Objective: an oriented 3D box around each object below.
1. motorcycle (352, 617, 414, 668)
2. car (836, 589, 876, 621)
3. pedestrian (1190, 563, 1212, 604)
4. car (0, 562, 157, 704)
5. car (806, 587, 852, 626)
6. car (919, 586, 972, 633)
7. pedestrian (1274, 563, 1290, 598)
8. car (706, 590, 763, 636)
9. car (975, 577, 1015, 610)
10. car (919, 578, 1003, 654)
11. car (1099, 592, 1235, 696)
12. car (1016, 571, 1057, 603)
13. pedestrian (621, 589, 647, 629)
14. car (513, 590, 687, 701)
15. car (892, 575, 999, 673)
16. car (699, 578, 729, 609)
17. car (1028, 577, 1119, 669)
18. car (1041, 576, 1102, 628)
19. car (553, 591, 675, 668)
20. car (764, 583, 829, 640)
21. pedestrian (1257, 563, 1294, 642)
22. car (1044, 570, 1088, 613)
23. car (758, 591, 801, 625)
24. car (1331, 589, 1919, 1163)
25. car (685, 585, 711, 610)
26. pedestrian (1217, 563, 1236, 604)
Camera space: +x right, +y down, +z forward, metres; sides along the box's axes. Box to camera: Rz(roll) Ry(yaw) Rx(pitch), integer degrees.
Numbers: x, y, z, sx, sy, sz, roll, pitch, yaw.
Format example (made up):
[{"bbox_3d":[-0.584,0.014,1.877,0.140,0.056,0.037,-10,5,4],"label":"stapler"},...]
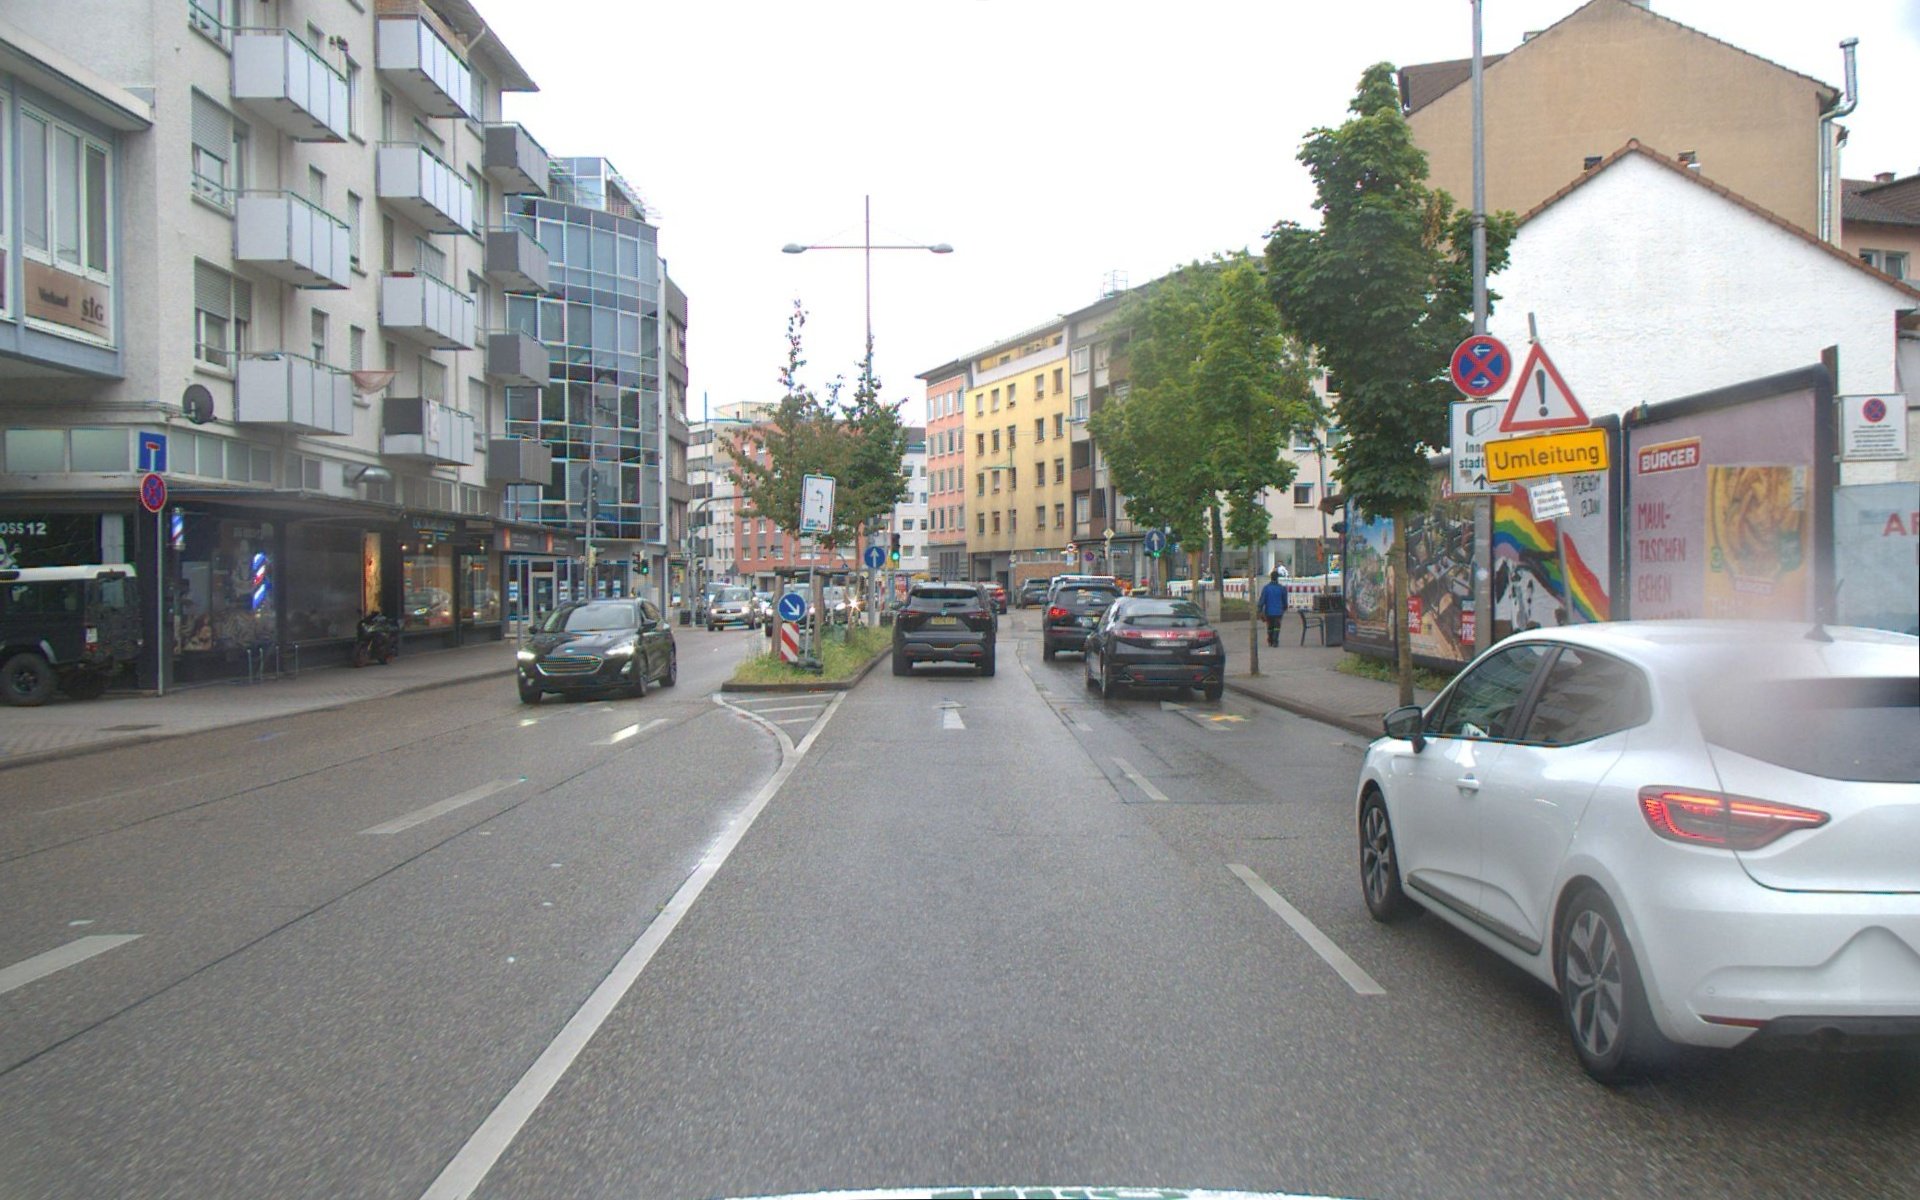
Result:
[{"bbox_3d":[-12.272,0.885,35.237,0.515,1.013,2.136,1,0,1],"label":"motorcycle"},{"bbox_3d":[-4.843,0.224,77.572,1.636,1.393,3.752,-2,0,-1],"label":"car"},{"bbox_3d":[12.256,-0.826,84.072,0.809,2.048,0.835,1,1,-19],"label":"pedestrian"},{"bbox_3d":[-14.595,0.507,25.230,3.880,2.070,1.581,-1,0,2],"label":"car"},{"bbox_3d":[-5.294,0.247,67.197,1.501,1.437,3.936,-3,0,-1],"label":"car"},{"bbox_3d":[-0.505,0.299,53.609,1.608,1.405,3.347,-2,0,-2],"label":"car"},{"bbox_3d":[16.749,-0.992,86.007,0.523,1.800,0.616,1,1,-31],"label":"pedestrian"},{"bbox_3d":[-8.499,0.471,62.675,1.599,1.619,3.936,-3,0,-1],"label":"car"},{"bbox_3d":[1.547,-0.289,74.302,1.608,1.405,3.347,-2,0,-2],"label":"car"},{"bbox_3d":[0.024,0.332,37.653,1.786,1.628,3.718,1,0,0],"label":"car"},{"bbox_3d":[3.023,0.602,24.758,1.749,1.424,3.720,0,0,3],"label":"car"},{"bbox_3d":[4.077,-0.711,88.410,1.674,1.639,3.725,1,1,-5],"label":"car"},{"bbox_3d":[-13.458,0.376,68.337,0.775,1.618,0.753,-2,0,-37],"label":"pedestrian"},{"bbox_3d":[-5.360,0.618,25.138,1.685,1.448,4.165,-3,0,-1],"label":"car"},{"bbox_3d":[-0.247,0.386,29.838,1.786,1.628,3.718,1,0,0],"label":"car"},{"bbox_3d":[-13.550,-0.348,91.015,1.521,1.598,3.340,1,0,-10],"label":"car"},{"bbox_3d":[2.449,0.457,36.372,1.792,1.837,3.719,1,1,1],"label":"car"},{"bbox_3d":[3.670,0.027,54.925,1.792,1.589,3.719,1,1,1],"label":"car"},{"bbox_3d":[-7.704,0.611,37.245,1.673,1.493,4.829,-4,0,0],"label":"car"},{"bbox_3d":[-5.276,0.348,53.693,1.649,1.690,4.096,-3,0,0],"label":"car"},{"bbox_3d":[7.328,0.062,38.403,0.774,1.786,0.872,-2,0,12],"label":"pedestrian"},{"bbox_3d":[4.481,-0.372,70.350,1.792,1.713,3.720,1,1,3],"label":"car"},{"bbox_3d":[-8.359,0.364,76.875,1.599,1.432,3.437,-3,0,-1],"label":"car"},{"bbox_3d":[2.774,0.741,6.468,1.631,1.420,3.866,-2,2,-2],"label":"car"},{"bbox_3d":[-16.460,-0.172,103.816,1.429,1.455,3.360,1,1,-12],"label":"car"},{"bbox_3d":[13.423,-0.832,83.351,0.804,2.048,0.840,1,1,17],"label":"pedestrian"}]
